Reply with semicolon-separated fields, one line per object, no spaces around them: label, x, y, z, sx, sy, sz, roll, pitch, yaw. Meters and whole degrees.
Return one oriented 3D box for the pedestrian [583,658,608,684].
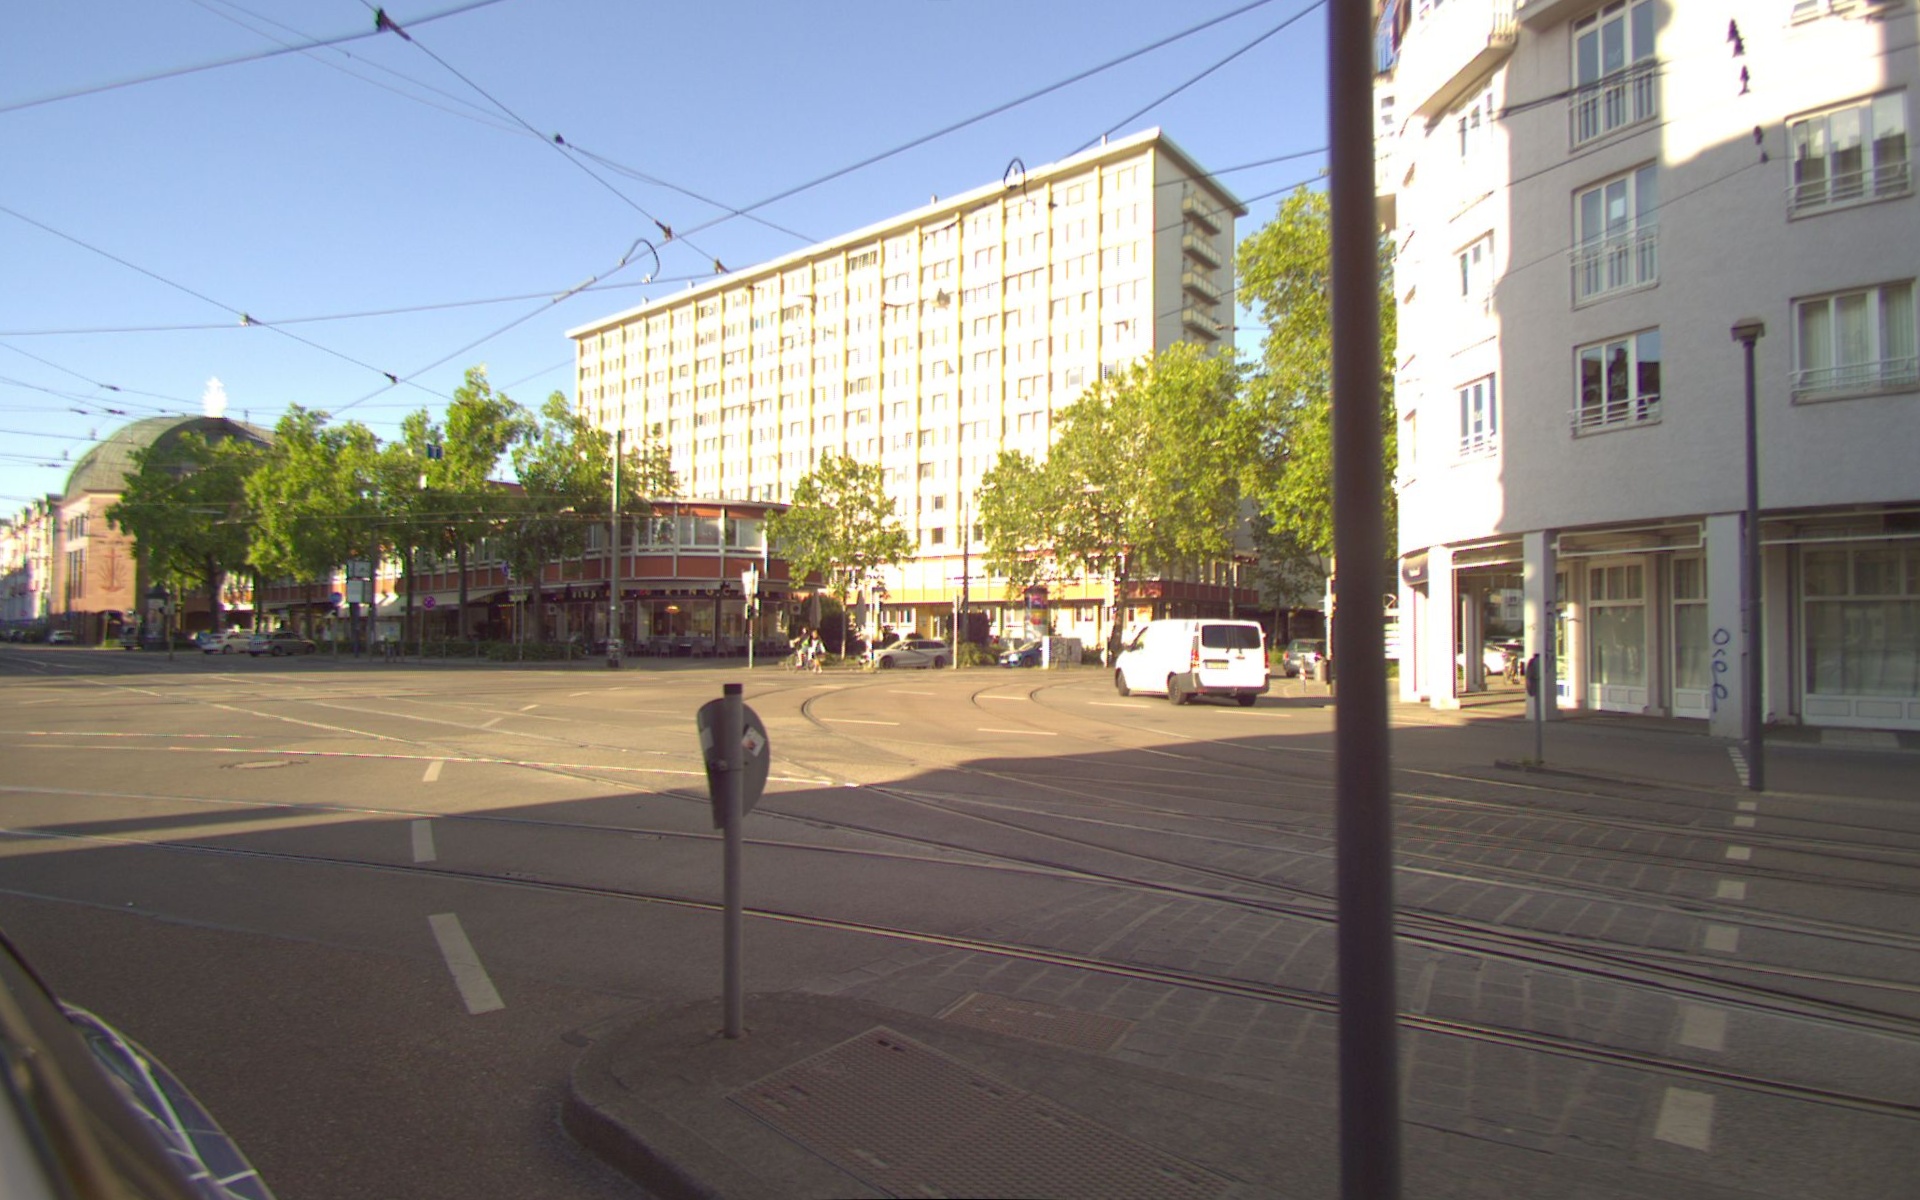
pedestrian;-19.686;3.824;54.672;0.890;1.407;0.924;-3;-5;43

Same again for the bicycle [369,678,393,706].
bicycle;-27.289;4.304;47.681;0.574;1.244;1.858;2;-4;-43

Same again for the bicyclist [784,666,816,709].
bicyclist;-5.863;3.198;37.077;0.830;1.478;0.898;0;-2;-41

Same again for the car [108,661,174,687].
car;-67.298;6.051;83.208;1.888;1.979;3.991;0;-3;6

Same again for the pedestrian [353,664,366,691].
pedestrian;-41.360;5.347;69.691;0.626;1.782;0.771;3;-3;-32

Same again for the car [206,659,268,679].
car;-76.777;7.369;107.576;1.998;2.029;4.921;-2;-5;39

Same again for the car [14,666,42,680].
car;-116.246;9.142;126.214;3.996;1.615;1.940;-2;-3;40

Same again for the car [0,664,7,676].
car;-135.786;9.870;142.338;3.996;1.615;1.940;-2;-3;40

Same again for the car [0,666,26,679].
car;-121.426;9.286;129.686;3.996;1.615;1.940;-2;-3;40

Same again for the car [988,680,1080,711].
car;3.750;4.832;51.159;4.380;1.432;1.896;4;-5;-32

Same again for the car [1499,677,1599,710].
car;29.269;4.646;50.353;4.001;1.522;1.774;-3;-6;44

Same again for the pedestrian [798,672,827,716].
pedestrian;-5.779;3.693;39.666;0.857;1.695;0.697;5;-7;-40

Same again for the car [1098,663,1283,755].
car;5.096;2.406;23.304;1.967;1.852;5.359;2;-4;-13

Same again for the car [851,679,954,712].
car;-2.675;4.457;47.328;4.380;1.432;1.896;4;-5;-32

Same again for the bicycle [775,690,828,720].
bicycle;-5.804;3.817;37.001;0.830;0.934;2.268;0;-2;-41

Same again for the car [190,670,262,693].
car;-52.189;5.809;72.056;1.778;1.486;3.987;0;-3;10

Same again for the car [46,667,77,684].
car;-96.038;8.050;108.172;3.996;1.615;1.886;-2;-3;40

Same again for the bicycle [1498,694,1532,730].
bicycle;18.758;3.770;34.268;0.933;1.116;2.421;-1;-4;27

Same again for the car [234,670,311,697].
car;-44.058;5.308;64.953;1.778;1.566;3.987;0;-3;10
